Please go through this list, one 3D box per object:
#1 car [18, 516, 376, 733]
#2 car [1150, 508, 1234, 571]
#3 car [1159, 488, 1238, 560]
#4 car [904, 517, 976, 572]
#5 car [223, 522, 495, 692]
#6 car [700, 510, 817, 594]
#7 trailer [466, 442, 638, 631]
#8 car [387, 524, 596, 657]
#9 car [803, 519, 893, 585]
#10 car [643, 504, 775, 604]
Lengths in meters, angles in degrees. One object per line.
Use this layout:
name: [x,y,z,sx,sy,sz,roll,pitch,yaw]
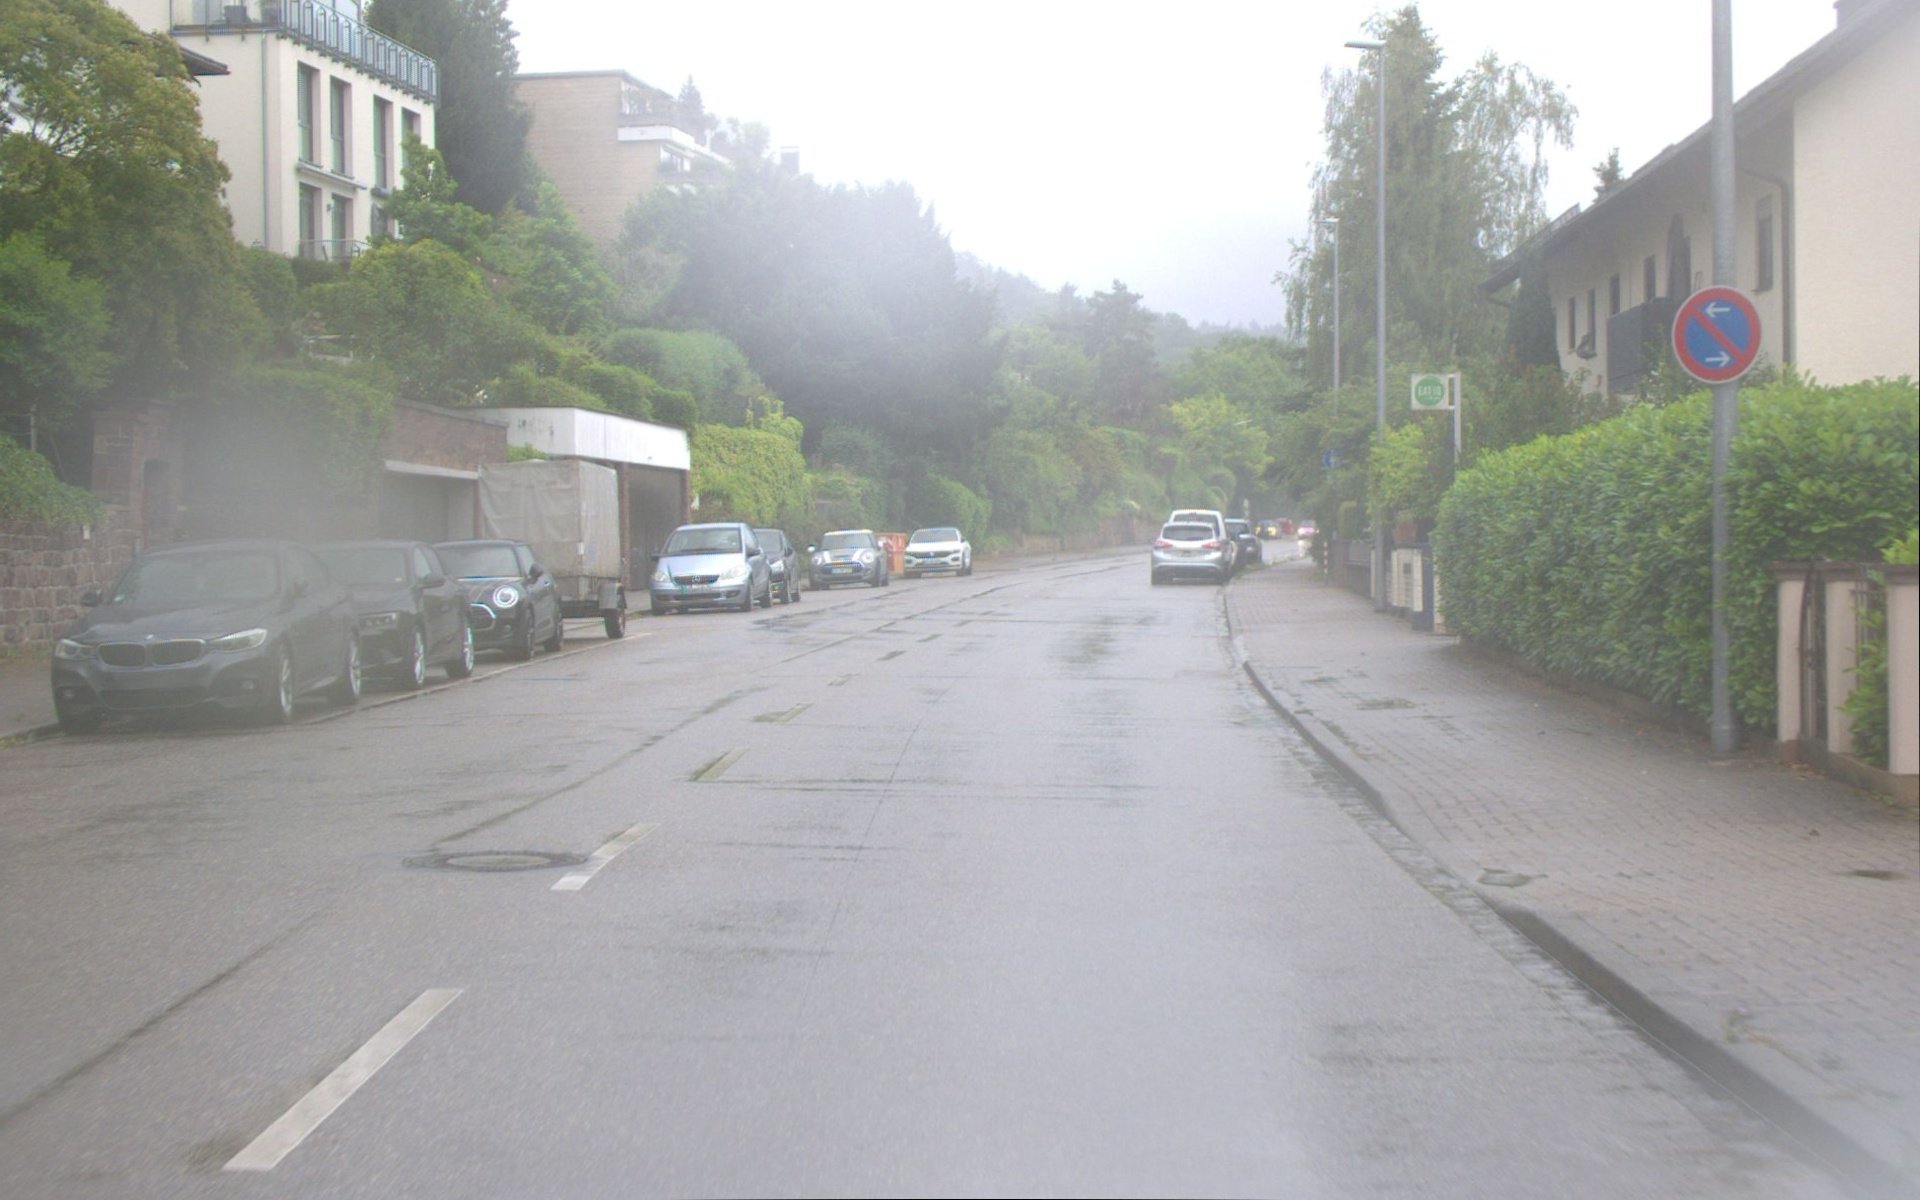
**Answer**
car: [-6.220,0.130,28.578,1.785,1.449,4.756,-4,2,0]
car: [5.671,-1.497,83.789,1.790,1.454,4.307,-1,2,7]
car: [6.236,-1.990,89.625,1.785,1.784,4.360,-1,1,7]
car: [-0.581,-1.685,103.107,1.756,1.492,4.220,-3,1,4]
car: [-5.916,0.020,34.311,1.785,1.410,4.218,-3,2,2]
car: [-3.895,-0.953,66.892,1.756,1.404,3.705,-5,2,3]
trailer: [-5.522,-0.898,46.844,1.537,2.391,3.072,-4,2,6]
car: [-5.558,-0.150,41.167,1.808,1.344,3.776,-3,2,2]
car: [-2.723,-1.196,84.071,1.756,1.397,3.770,-4,2,4]
car: [-4.437,-0.842,61.288,1.756,1.534,3.756,-5,2,3]
